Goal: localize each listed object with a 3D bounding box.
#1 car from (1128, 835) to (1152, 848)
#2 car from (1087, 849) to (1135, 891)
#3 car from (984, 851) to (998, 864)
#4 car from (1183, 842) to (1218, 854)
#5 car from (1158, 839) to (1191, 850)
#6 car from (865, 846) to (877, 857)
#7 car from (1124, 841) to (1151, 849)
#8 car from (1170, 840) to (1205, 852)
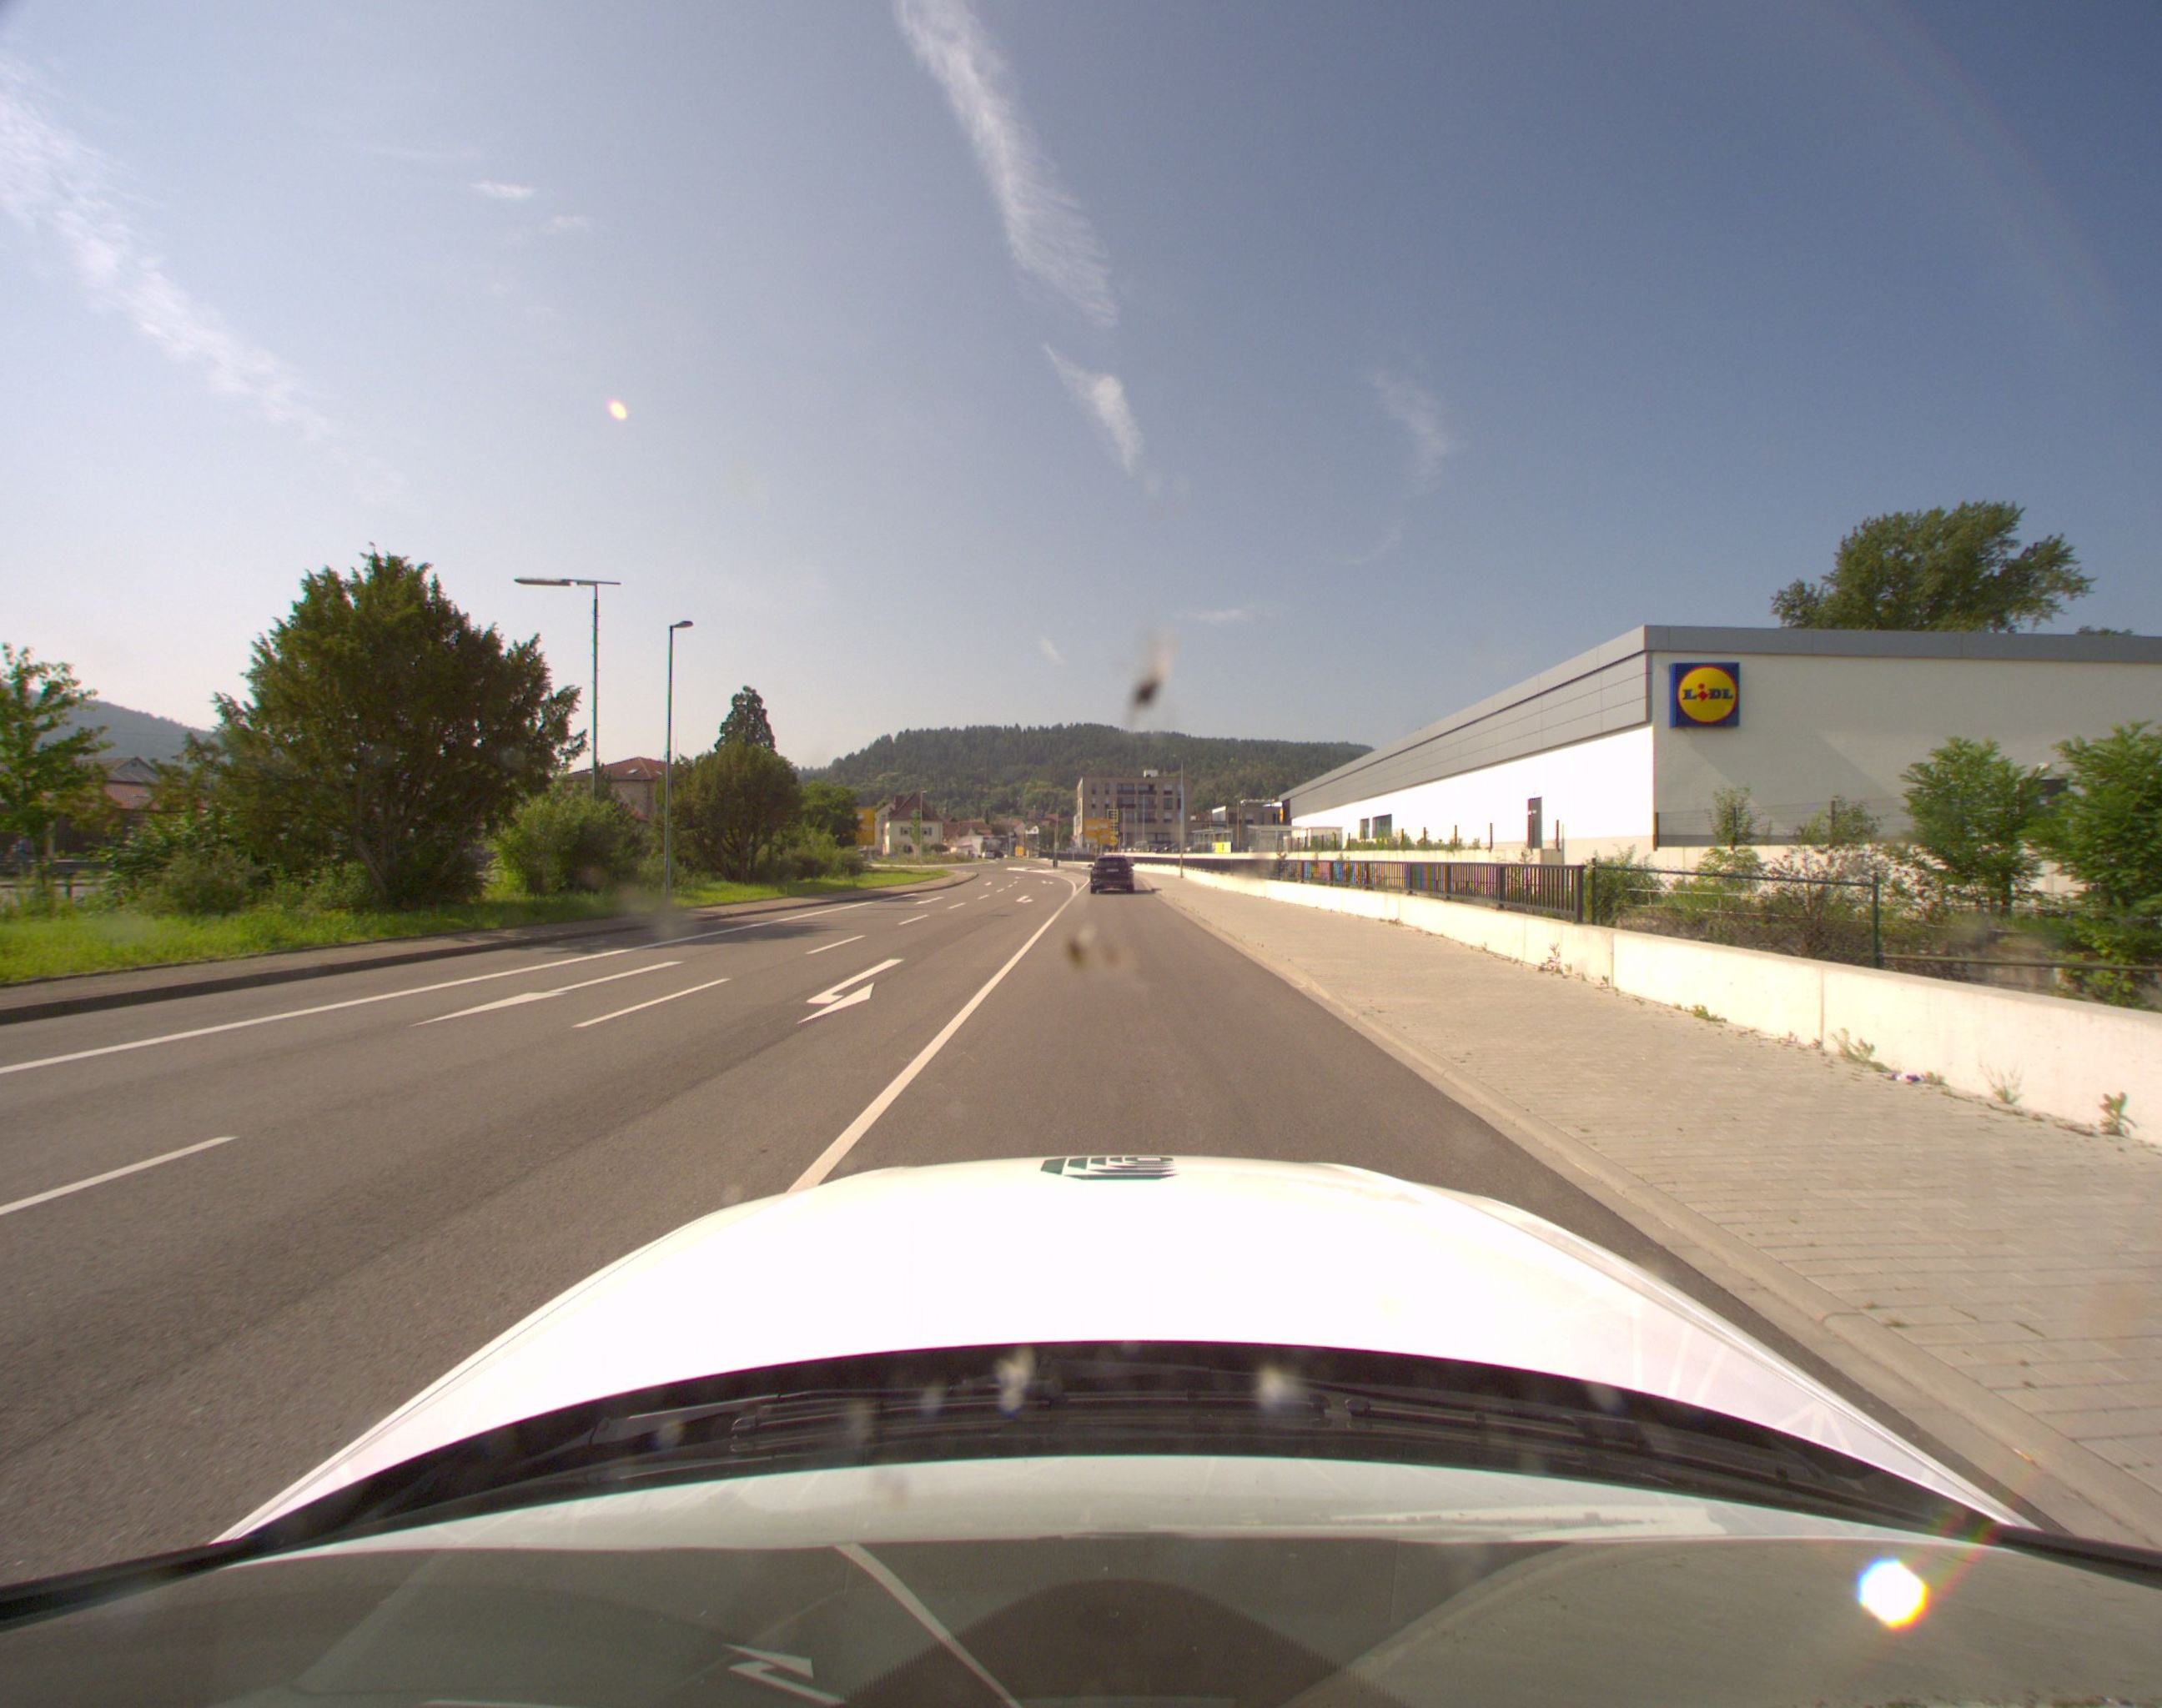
[{"bbox_3d":[9.860,-2.056,136.091,3.968,2.136,2.003,-1,0,4],"label":"car"},{"bbox_3d":[1.251,0.670,35.597,1.876,1.684,3.998,-1,0,-1],"label":"car"},{"bbox_3d":[-13.868,0.566,125.771,1.990,2.013,3.994,-1,0,-4],"label":"car"},{"bbox_3d":[14.579,-0.742,99.409,3.815,1.364,1.671,0,1,-17],"label":"car"},{"bbox_3d":[12.153,-1.268,106.069,4.015,1.404,1.715,0,1,-17],"label":"car"},{"bbox_3d":[-39.008,-0.449,151.482,1.815,2.013,3.975,-1,1,-19],"label":"car"},{"bbox_3d":[8.360,-1.329,120.344,3.563,1.199,1.705,0,1,-17],"label":"car"},{"bbox_3d":[13.412,-1.005,102.434,4.071,1.404,1.477,0,1,-17],"label":"car"}]
